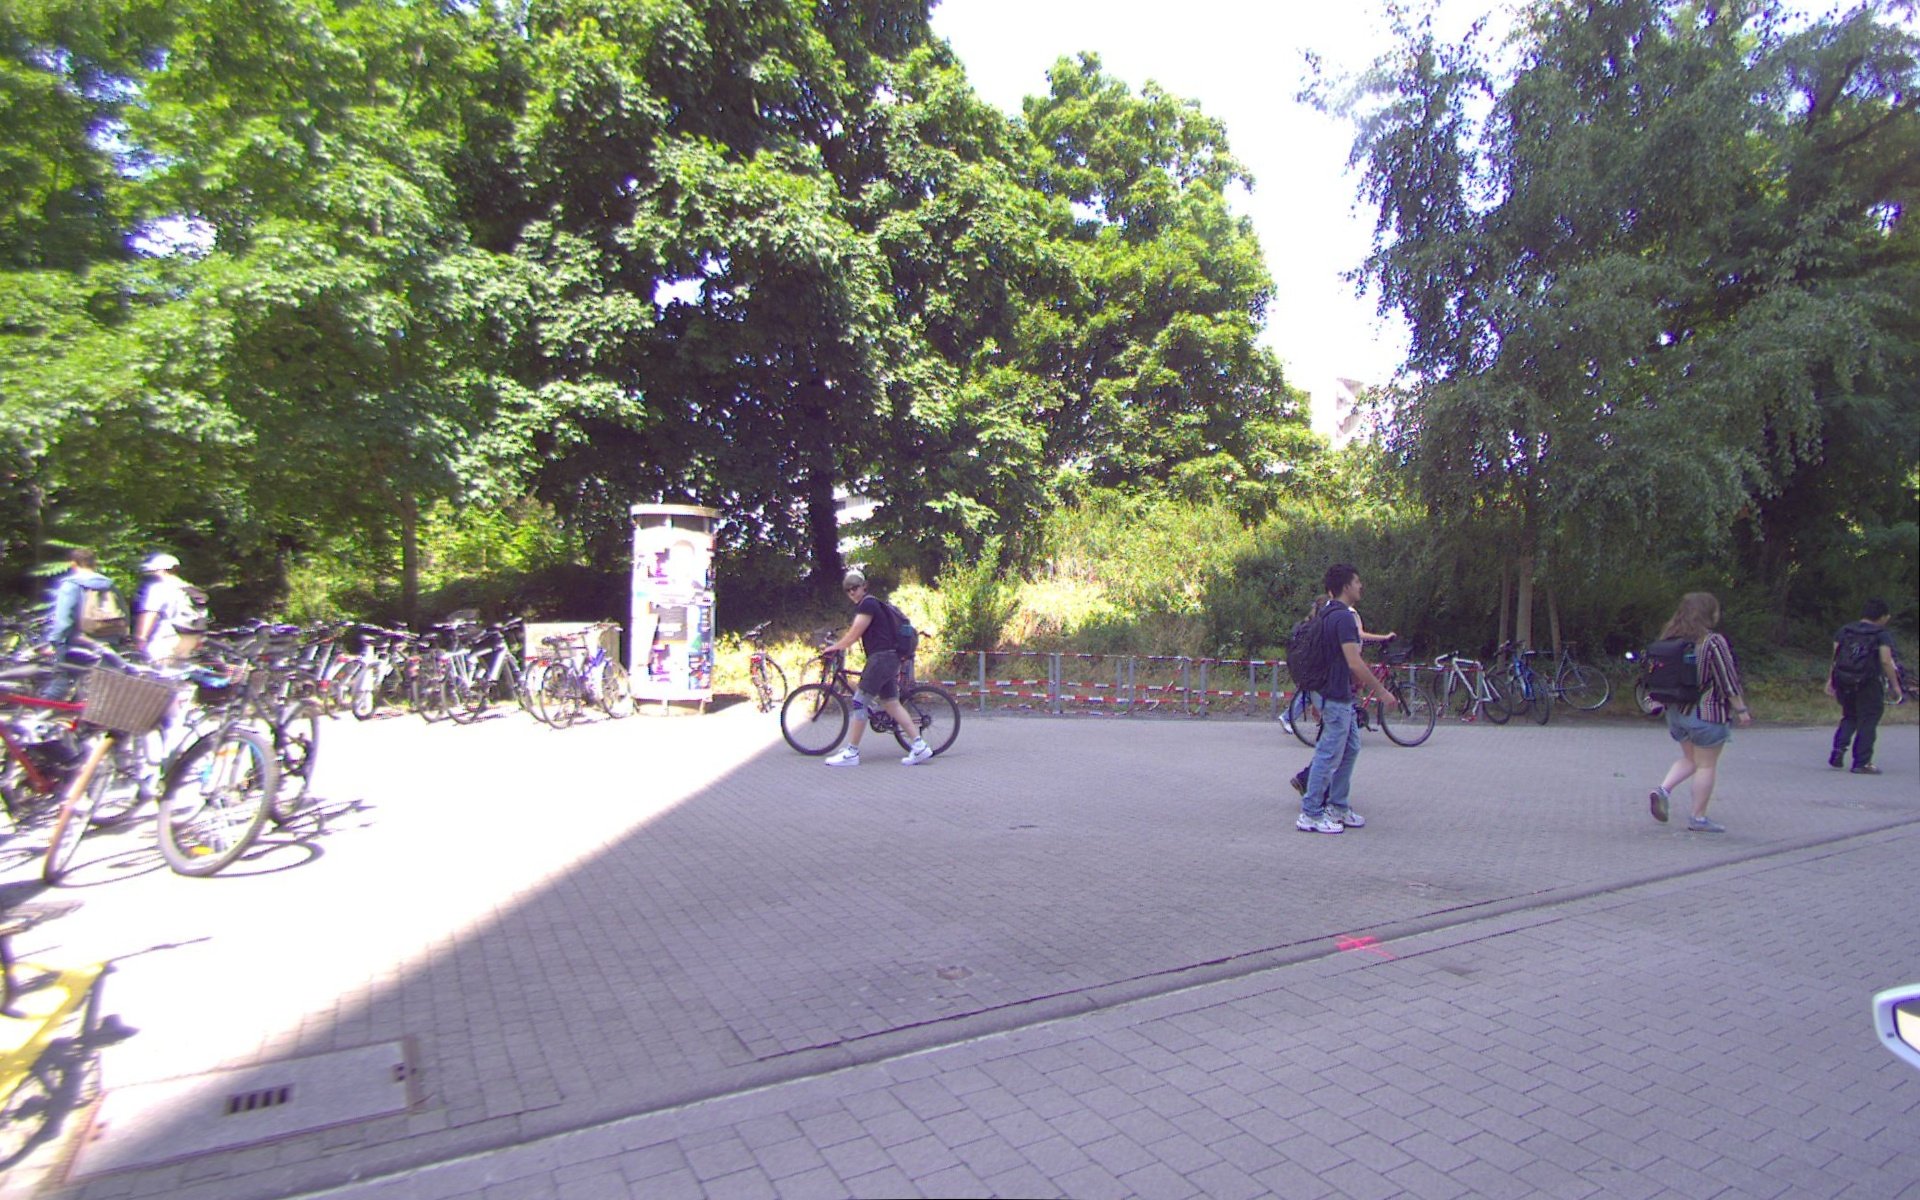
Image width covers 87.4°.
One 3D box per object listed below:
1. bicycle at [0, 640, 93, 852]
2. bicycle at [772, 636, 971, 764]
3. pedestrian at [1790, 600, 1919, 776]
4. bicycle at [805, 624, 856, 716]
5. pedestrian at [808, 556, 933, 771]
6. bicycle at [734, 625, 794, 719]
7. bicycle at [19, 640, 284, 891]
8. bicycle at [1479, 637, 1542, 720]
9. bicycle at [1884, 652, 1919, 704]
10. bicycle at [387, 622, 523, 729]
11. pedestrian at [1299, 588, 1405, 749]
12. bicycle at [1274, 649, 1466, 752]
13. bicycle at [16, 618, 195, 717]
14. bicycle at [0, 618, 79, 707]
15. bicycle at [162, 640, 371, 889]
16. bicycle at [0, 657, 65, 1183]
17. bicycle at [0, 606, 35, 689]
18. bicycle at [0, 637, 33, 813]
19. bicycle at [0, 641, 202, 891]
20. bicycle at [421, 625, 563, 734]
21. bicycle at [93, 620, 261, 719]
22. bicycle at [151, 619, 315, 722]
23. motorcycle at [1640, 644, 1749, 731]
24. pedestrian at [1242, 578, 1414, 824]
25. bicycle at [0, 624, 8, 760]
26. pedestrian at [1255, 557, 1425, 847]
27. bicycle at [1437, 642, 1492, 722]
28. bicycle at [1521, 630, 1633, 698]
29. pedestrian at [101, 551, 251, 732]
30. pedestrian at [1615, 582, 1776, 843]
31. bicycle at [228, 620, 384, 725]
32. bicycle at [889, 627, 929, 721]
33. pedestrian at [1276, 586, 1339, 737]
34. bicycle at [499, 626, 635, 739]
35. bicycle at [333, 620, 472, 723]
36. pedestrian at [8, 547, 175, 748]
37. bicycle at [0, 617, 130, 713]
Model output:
[{"bbox_3d":[-5.310,0.790,5.171,0.466,1.098,1.696,2,0,-11],"label":"bicycle"},{"bbox_3d":[-0.813,0.935,9.517,1.808,1.125,0.474,2,0,0],"label":"bicycle"},{"bbox_3d":[9.362,0.882,10.421,0.886,1.747,0.686,2,0,-1],"label":"pedestrian"},{"bbox_3d":[-1.721,0.900,13.490,0.465,1.125,1.777,1,0,-1],"label":"bicycle"},{"bbox_3d":[-0.789,0.559,9.104,1.029,1.860,0.614,1,0,1],"label":"pedestrian"},{"bbox_3d":[-2.582,0.914,13.373,0.465,1.125,1.777,1,0,-1],"label":"bicycle"},{"bbox_3d":[-4.335,0.803,5.532,0.466,1.098,1.718,2,0,-15],"label":"bicycle"},{"bbox_3d":[8.059,1.115,14.763,0.465,1.061,1.700,3,1,18],"label":"bicycle"},{"bbox_3d":[18.325,1.491,18.984,1.711,0.922,0.421,3,-1,-16],"label":"bicycle"},{"bbox_3d":[-5.851,0.830,11.757,0.464,1.125,1.779,1,0,8],"label":"bicycle"},{"bbox_3d":[4.361,0.747,11.224,0.919,1.747,0.677,0,-1,-1],"label":"pedestrian"},{"bbox_3d":[4.458,1.088,10.985,1.871,1.061,0.542,1,0,-1],"label":"bicycle"},{"bbox_3d":[-10.568,0.793,12.509,0.507,1.125,1.779,1,0,8],"label":"bicycle"},{"bbox_3d":[-12.447,0.800,12.869,0.507,1.125,1.779,1,0,11],"label":"bicycle"},{"bbox_3d":[-3.824,0.822,5.674,0.466,1.125,1.693,2,0,-18],"label":"bicycle"},{"bbox_3d":[-2.938,0.798,2.852,0.470,1.174,1.680,2,0,-39],"label":"bicycle"},{"bbox_3d":[-13.554,0.646,13.414,0.507,1.125,1.779,1,0,11],"label":"bicycle"},{"bbox_3d":[-6.387,0.777,5.692,0.464,1.098,1.701,1,0,11],"label":"bicycle"},{"bbox_3d":[-4.834,0.807,5.407,0.466,1.098,1.696,2,0,-11],"label":"bicycle"},{"bbox_3d":[-5.335,0.862,11.575,0.464,1.125,1.779,1,0,13],"label":"bicycle"},{"bbox_3d":[-9.708,0.823,12.547,0.507,1.125,1.779,1,0,8],"label":"bicycle"},{"bbox_3d":[-8.675,0.800,12.081,0.464,1.125,1.779,1,0,8],"label":"bicycle"},{"bbox_3d":[10.586,1.226,14.558,0.464,1.061,2.027,1,1,12],"label":"motorcycle"},{"bbox_3d":[2.726,0.722,7.530,1.043,1.747,0.719,0,-1,2],"label":"pedestrian"},{"bbox_3d":[-8.581,0.719,7.959,1.665,1.098,0.604,1,0,9],"label":"bicycle"},{"bbox_3d":[2.547,0.657,6.817,0.922,1.860,0.686,0,-1,4],"label":"pedestrian"},{"bbox_3d":[7.448,1.173,14.863,0.465,1.061,1.700,1,0,19],"label":"bicycle"},{"bbox_3d":[10.490,1.082,17.088,1.669,1.061,0.473,2,1,-9],"label":"bicycle"},{"bbox_3d":[-8.283,0.424,10.645,0.964,1.828,0.770,1,0,8],"label":"pedestrian"},{"bbox_3d":[5.255,0.756,7.188,0.723,1.747,0.680,1,0,-32],"label":"pedestrian"},{"bbox_3d":[-7.663,0.807,11.870,0.464,1.125,1.779,1,0,8],"label":"bicycle"},{"bbox_3d":[-0.668,0.954,13.480,0.465,1.125,1.777,1,0,-1],"label":"bicycle"},{"bbox_3d":[4.186,0.721,12.078,0.673,1.747,0.731,0,-1,23],"label":"pedestrian"},{"bbox_3d":[-4.318,0.865,11.189,0.464,1.125,1.779,1,0,13],"label":"bicycle"},{"bbox_3d":[-6.705,0.819,12.187,0.464,1.125,1.779,1,0,8],"label":"bicycle"},{"bbox_3d":[-8.372,0.436,9.715,0.864,1.839,0.835,1,0,9],"label":"pedestrian"},{"bbox_3d":[-11.586,0.787,12.669,0.507,1.125,1.779,1,0,11],"label":"bicycle"}]
